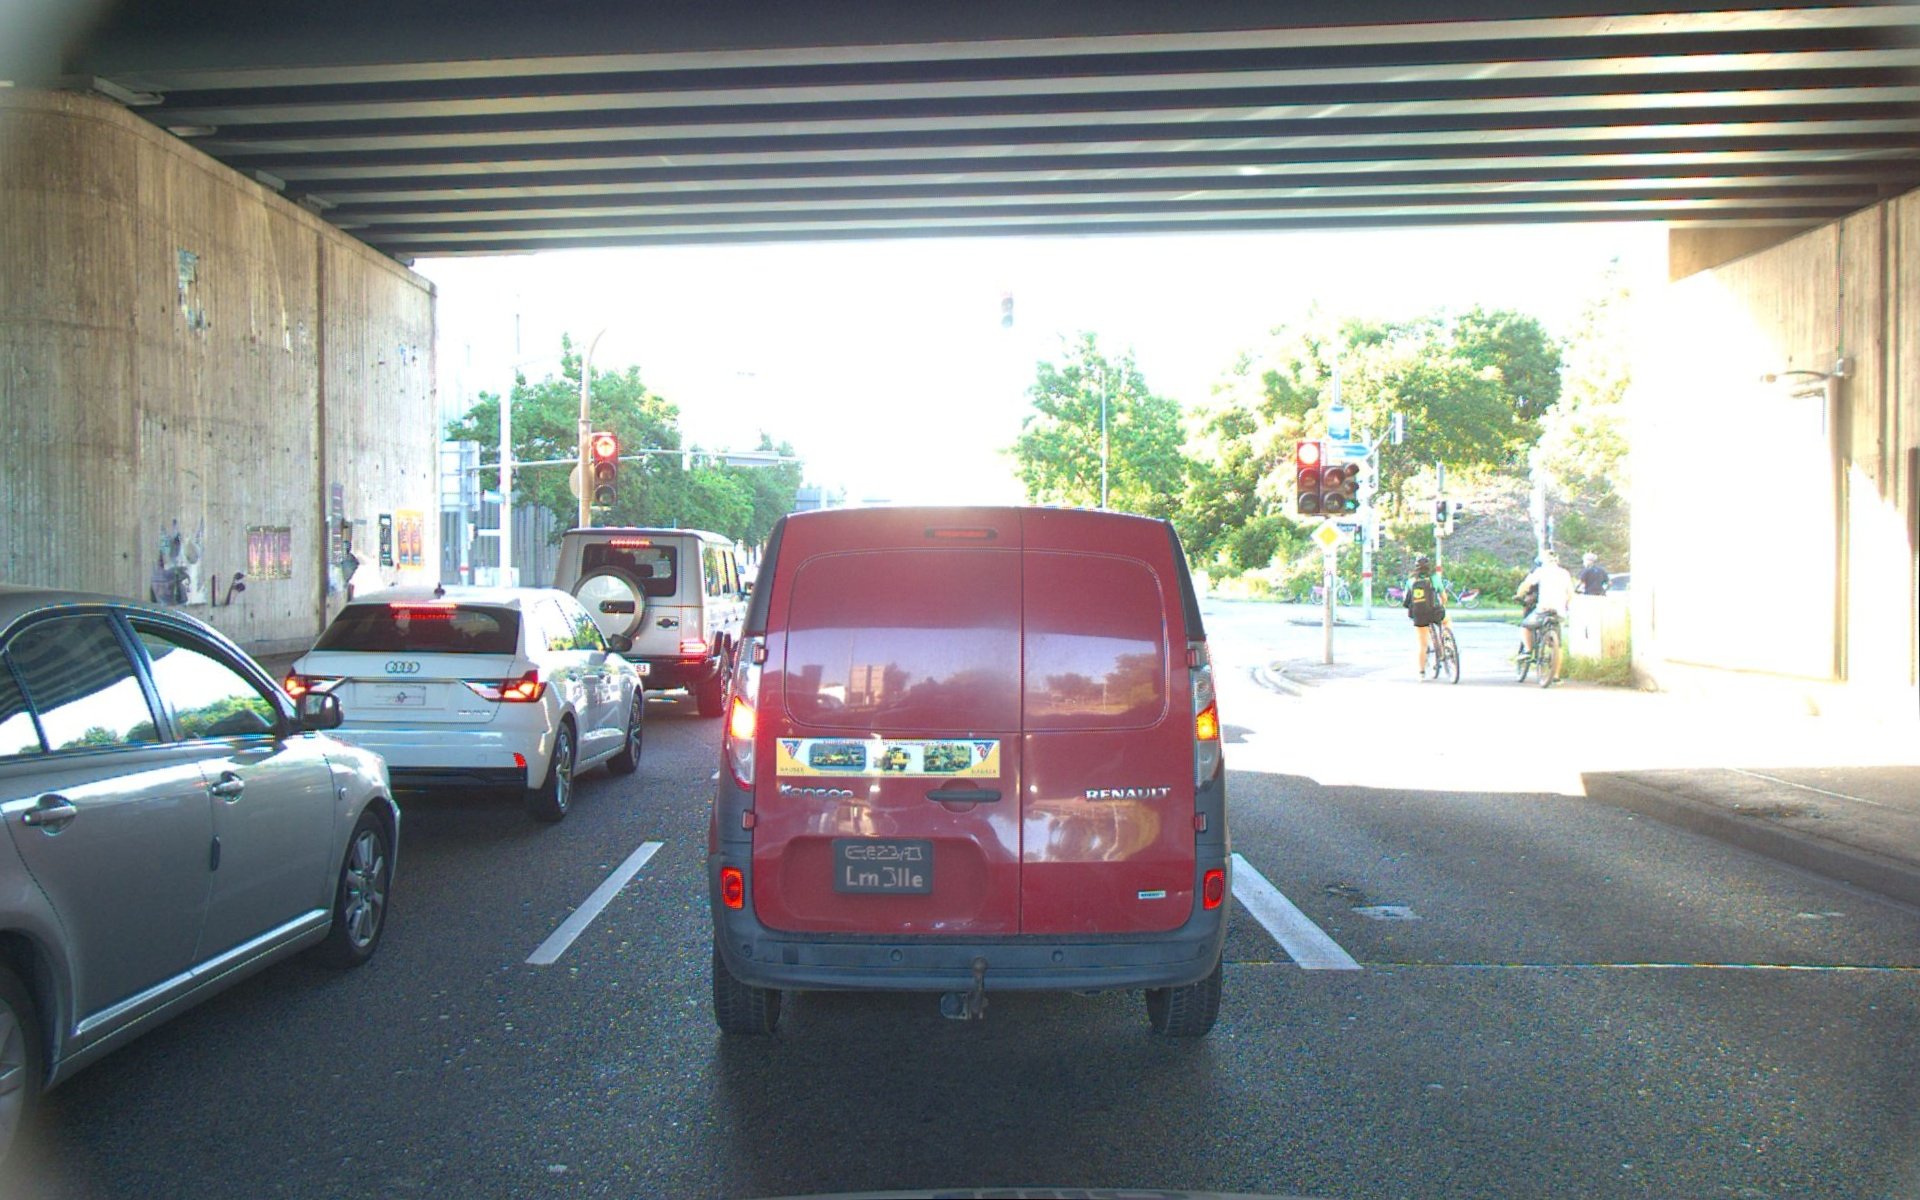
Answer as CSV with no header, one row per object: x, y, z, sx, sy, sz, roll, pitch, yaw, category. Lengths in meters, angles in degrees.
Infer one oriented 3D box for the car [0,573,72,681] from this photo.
-15.337,0.415,24.739,1.787,1.615,4.183,0,1,1,car

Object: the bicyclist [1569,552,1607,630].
12.304,-0.180,32.430,0.635,1.506,0.618,1,1,17,bicyclist

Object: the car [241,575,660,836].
-3.256,0.578,11.341,1.777,1.463,3.730,1,1,-1,car

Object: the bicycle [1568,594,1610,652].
12.313,0.439,32.415,0.653,1.041,1.752,1,2,17,bicycle

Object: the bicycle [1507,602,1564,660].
10.824,0.577,31.154,0.657,1.041,2.057,1,0,9,bicycle

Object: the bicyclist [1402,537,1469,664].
6.290,0.006,21.906,0.580,1.642,0.942,1,0,-1,bicyclist

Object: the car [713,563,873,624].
-4.204,-0.155,41.741,3.702,1.473,1.680,0,0,-28,car

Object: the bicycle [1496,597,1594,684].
7.325,0.490,20.779,0.579,1.041,1.750,1,0,-1,bicycle

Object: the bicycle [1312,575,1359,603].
14.203,-0.418,62.593,1.707,1.041,0.594,1,0,8,bicycle

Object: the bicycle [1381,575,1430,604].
16.470,-0.385,61.165,1.707,1.041,0.594,1,0,8,bicycle

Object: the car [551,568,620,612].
-16.118,-0.443,71.376,1.787,1.768,4.630,-2,1,1,car

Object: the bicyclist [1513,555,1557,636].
10.839,-0.085,31.194,0.650,1.500,0.752,1,-1,10,bicyclist

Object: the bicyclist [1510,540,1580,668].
7.338,0.050,20.773,0.580,1.575,0.769,1,-1,-1,bicyclist

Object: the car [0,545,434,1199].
-3.011,0.624,4.842,1.698,1.506,4.317,0,0,-2,car

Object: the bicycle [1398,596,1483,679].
6.300,0.476,21.767,0.579,1.041,1.750,1,0,-1,bicycle

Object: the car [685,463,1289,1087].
0.056,0.530,6.909,1.768,1.826,3.999,1,0,-1,car

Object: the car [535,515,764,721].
-3.358,0.190,18.750,1.764,2.023,4.588,1,0,-1,car

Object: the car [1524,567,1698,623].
19.157,-0.150,48.809,4.451,1.540,1.829,1,0,6,car

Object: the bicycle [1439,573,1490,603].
18.353,-0.437,60.210,1.707,1.041,0.594,1,0,10,bicycle

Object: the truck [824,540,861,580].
-9.415,-3.190,133.143,2.360,3.079,6.657,-2,1,0,truck
